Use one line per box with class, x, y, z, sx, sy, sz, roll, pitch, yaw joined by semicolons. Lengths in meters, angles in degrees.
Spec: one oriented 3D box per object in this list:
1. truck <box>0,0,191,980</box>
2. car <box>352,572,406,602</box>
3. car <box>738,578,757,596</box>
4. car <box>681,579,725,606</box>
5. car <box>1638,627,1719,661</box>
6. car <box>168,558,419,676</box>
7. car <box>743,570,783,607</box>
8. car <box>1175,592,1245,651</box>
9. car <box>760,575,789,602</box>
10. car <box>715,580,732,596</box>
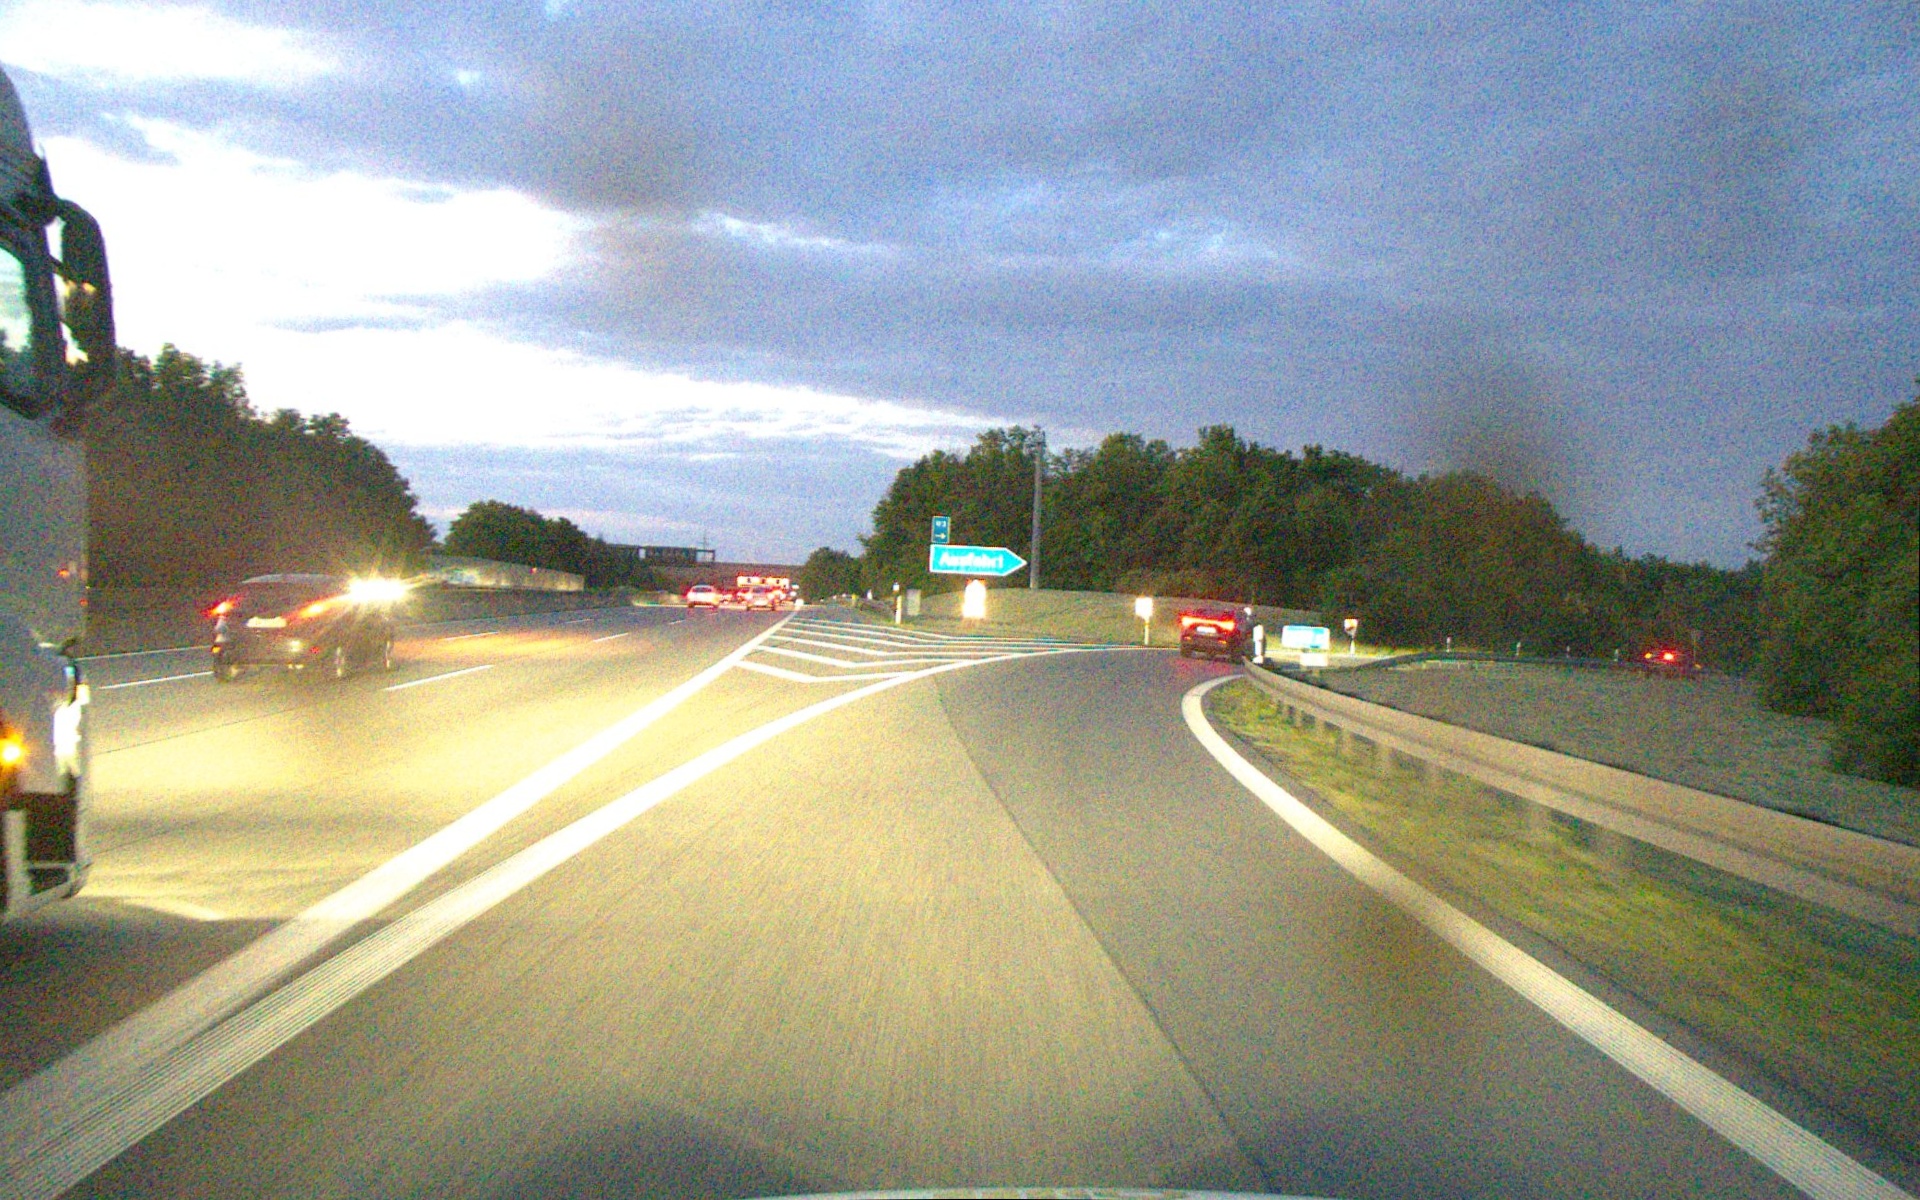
truck;-4.590;-0.646;4.246;2.724;3.970;6.149;0;1;-4
car;-33.270;-0.780;94.800;1.956;1.537;3.995;5;1;-6
car;-24.010;-1.485;186.936;2.031;2.049;3.996;0;1;-6
car;-16.475;-0.479;106.180;1.952;1.671;4.556;1;1;1
car;38.360;2.361;88.321;3.944;1.626;1.981;2;1;-30
car;-9.486;0.193;23.986;1.954;1.524;4.546;1;1;-3
car;-11.506;-0.673;96.669;1.953;2.049;3.999;1;1;-2
car;7.819;0.653;51.420;1.951;1.688;4.318;2;0;11
car;-14.774;-0.942;131.855;1.953;2.049;3.999;0;1;-1
car;-31.358;-1.612;219.504;2.064;2.049;3.994;0;1;-7
